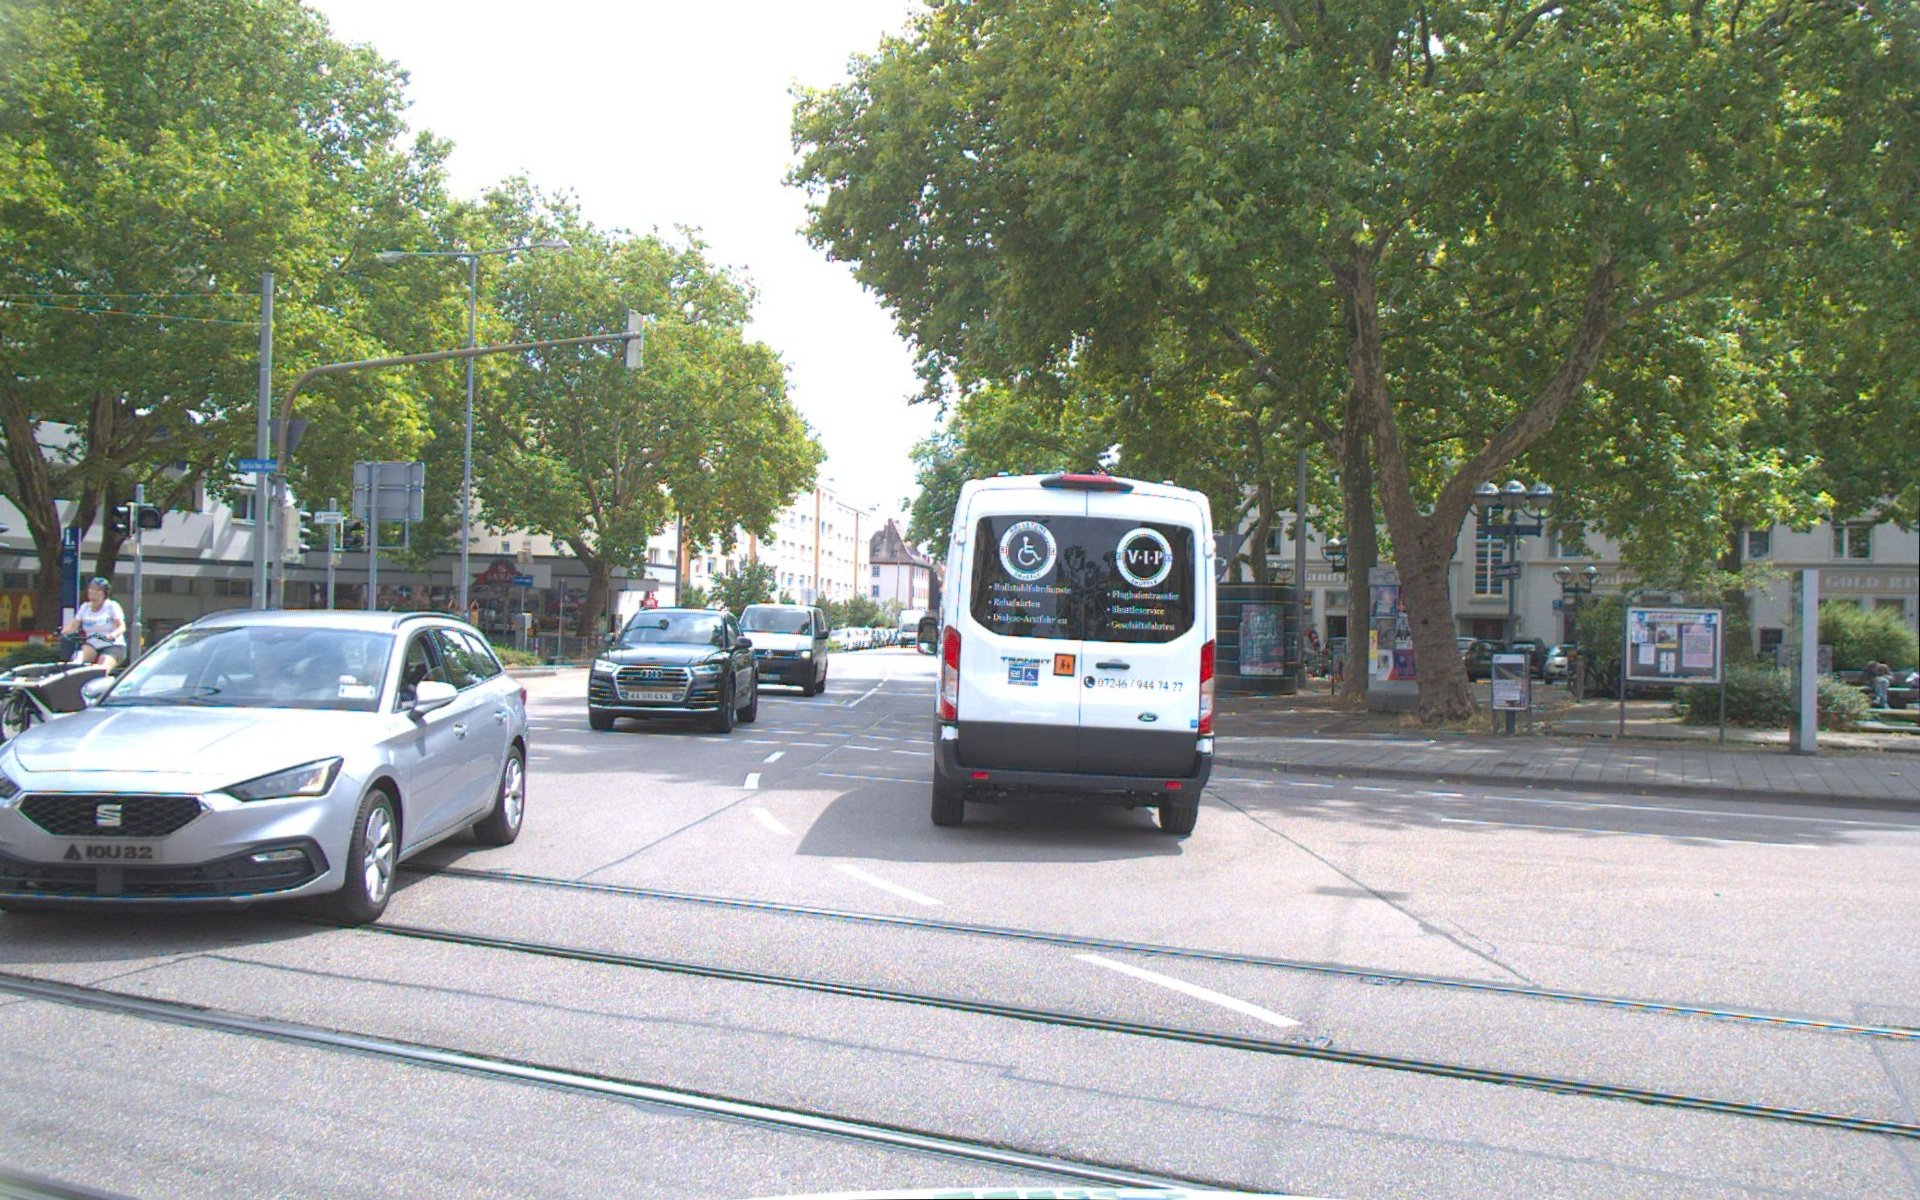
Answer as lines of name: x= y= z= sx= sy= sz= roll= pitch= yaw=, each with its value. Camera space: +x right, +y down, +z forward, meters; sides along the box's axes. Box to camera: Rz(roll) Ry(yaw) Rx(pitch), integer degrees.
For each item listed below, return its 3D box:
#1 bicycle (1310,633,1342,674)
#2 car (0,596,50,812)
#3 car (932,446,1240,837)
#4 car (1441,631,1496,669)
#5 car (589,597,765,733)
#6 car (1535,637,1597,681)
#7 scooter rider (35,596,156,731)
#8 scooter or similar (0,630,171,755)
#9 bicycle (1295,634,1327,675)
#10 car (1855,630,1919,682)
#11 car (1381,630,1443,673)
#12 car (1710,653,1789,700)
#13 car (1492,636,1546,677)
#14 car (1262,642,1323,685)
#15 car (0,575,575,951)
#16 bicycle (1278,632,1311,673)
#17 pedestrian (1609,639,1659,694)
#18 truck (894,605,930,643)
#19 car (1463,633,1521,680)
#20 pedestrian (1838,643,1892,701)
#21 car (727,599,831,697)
bicycle: x=12.750 y=1.856 z=57.633 sx=0.411 sy=1.402 sz=2.307 roll=0 pitch=-1 yaw=30
car: x=-7.377 y=0.685 z=9.625 sx=1.698 sy=1.456 sz=4.242 roll=1 pitch=0 yaw=1
car: x=0.890 y=0.351 z=13.441 sx=2.027 sy=2.585 sz=4.634 roll=1 pitch=-2 yaw=1
car: x=21.574 y=2.113 z=70.082 sx=1.952 sy=1.514 sz=4.194 roll=1 pitch=-1 yaw=21
car: x=-3.847 y=0.843 z=23.182 sx=1.785 sy=1.676 sz=4.426 roll=2 pitch=-1 yaw=-2
car: x=21.656 y=2.078 z=59.244 sx=1.952 sy=1.490 sz=4.001 roll=0 pitch=-1 yaw=18
scooter rider: x=-9.311 y=0.668 z=17.856 sx=0.724 sy=1.400 sz=1.086 roll=1 pitch=0 yaw=-2
scooter or similar: x=-9.312 y=0.925 z=17.444 sx=0.724 sy=1.158 sz=2.687 roll=1 pitch=0 yaw=-1
bicycle: x=12.303 y=1.894 z=57.945 sx=0.411 sy=1.402 sz=2.306 roll=0 pitch=-1 yaw=30
car: x=31.231 y=1.847 z=54.905 sx=1.952 sy=1.646 sz=4.206 roll=0 pitch=-1 yaw=18
car: x=16.605 y=1.861 z=60.636 sx=1.952 sy=1.490 sz=4.001 roll=0 pitch=-1 yaw=18
car: x=27.160 y=2.617 z=57.012 sx=1.952 sy=1.490 sz=4.001 roll=0 pitch=-1 yaw=18
car: x=23.259 y=2.331 z=68.770 sx=1.952 sy=1.619 sz=4.194 roll=1 pitch=-1 yaw=21
car: x=12.828 y=2.417 z=63.655 sx=1.789 sy=1.579 sz=4.001 roll=0 pitch=-1 yaw=18
car: x=-3.563 y=0.696 z=9.312 sx=1.727 sy=1.550 sz=4.846 roll=1 pitch=-1 yaw=-1
bicycle: x=11.786 y=1.833 z=58.264 sx=0.411 sy=1.402 sz=2.307 roll=0 pitch=-1 yaw=30
pedestrian: x=15.836 y=1.551 z=38.836 sx=1.073 sy=1.234 sz=1.140 roll=0 pitch=-2 yaw=23
truck: x=-4.119 y=2.087 z=143.519 sx=2.488 sy=3.162 sz=7.022 roll=-1 pitch=-1 yaw=3
car: x=19.313 y=2.022 z=60.000 sx=1.952 sy=1.627 sz=4.001 roll=0 pitch=-1 yaw=18
pedestrian: x=20.141 y=1.594 z=36.839 sx=0.867 sy=1.221 sz=1.124 roll=1 pitch=0 yaw=20
car: x=-3.978 y=1.026 z=37.103 sx=1.885 sy=1.970 sz=4.945 roll=2 pitch=-1 yaw=-2
